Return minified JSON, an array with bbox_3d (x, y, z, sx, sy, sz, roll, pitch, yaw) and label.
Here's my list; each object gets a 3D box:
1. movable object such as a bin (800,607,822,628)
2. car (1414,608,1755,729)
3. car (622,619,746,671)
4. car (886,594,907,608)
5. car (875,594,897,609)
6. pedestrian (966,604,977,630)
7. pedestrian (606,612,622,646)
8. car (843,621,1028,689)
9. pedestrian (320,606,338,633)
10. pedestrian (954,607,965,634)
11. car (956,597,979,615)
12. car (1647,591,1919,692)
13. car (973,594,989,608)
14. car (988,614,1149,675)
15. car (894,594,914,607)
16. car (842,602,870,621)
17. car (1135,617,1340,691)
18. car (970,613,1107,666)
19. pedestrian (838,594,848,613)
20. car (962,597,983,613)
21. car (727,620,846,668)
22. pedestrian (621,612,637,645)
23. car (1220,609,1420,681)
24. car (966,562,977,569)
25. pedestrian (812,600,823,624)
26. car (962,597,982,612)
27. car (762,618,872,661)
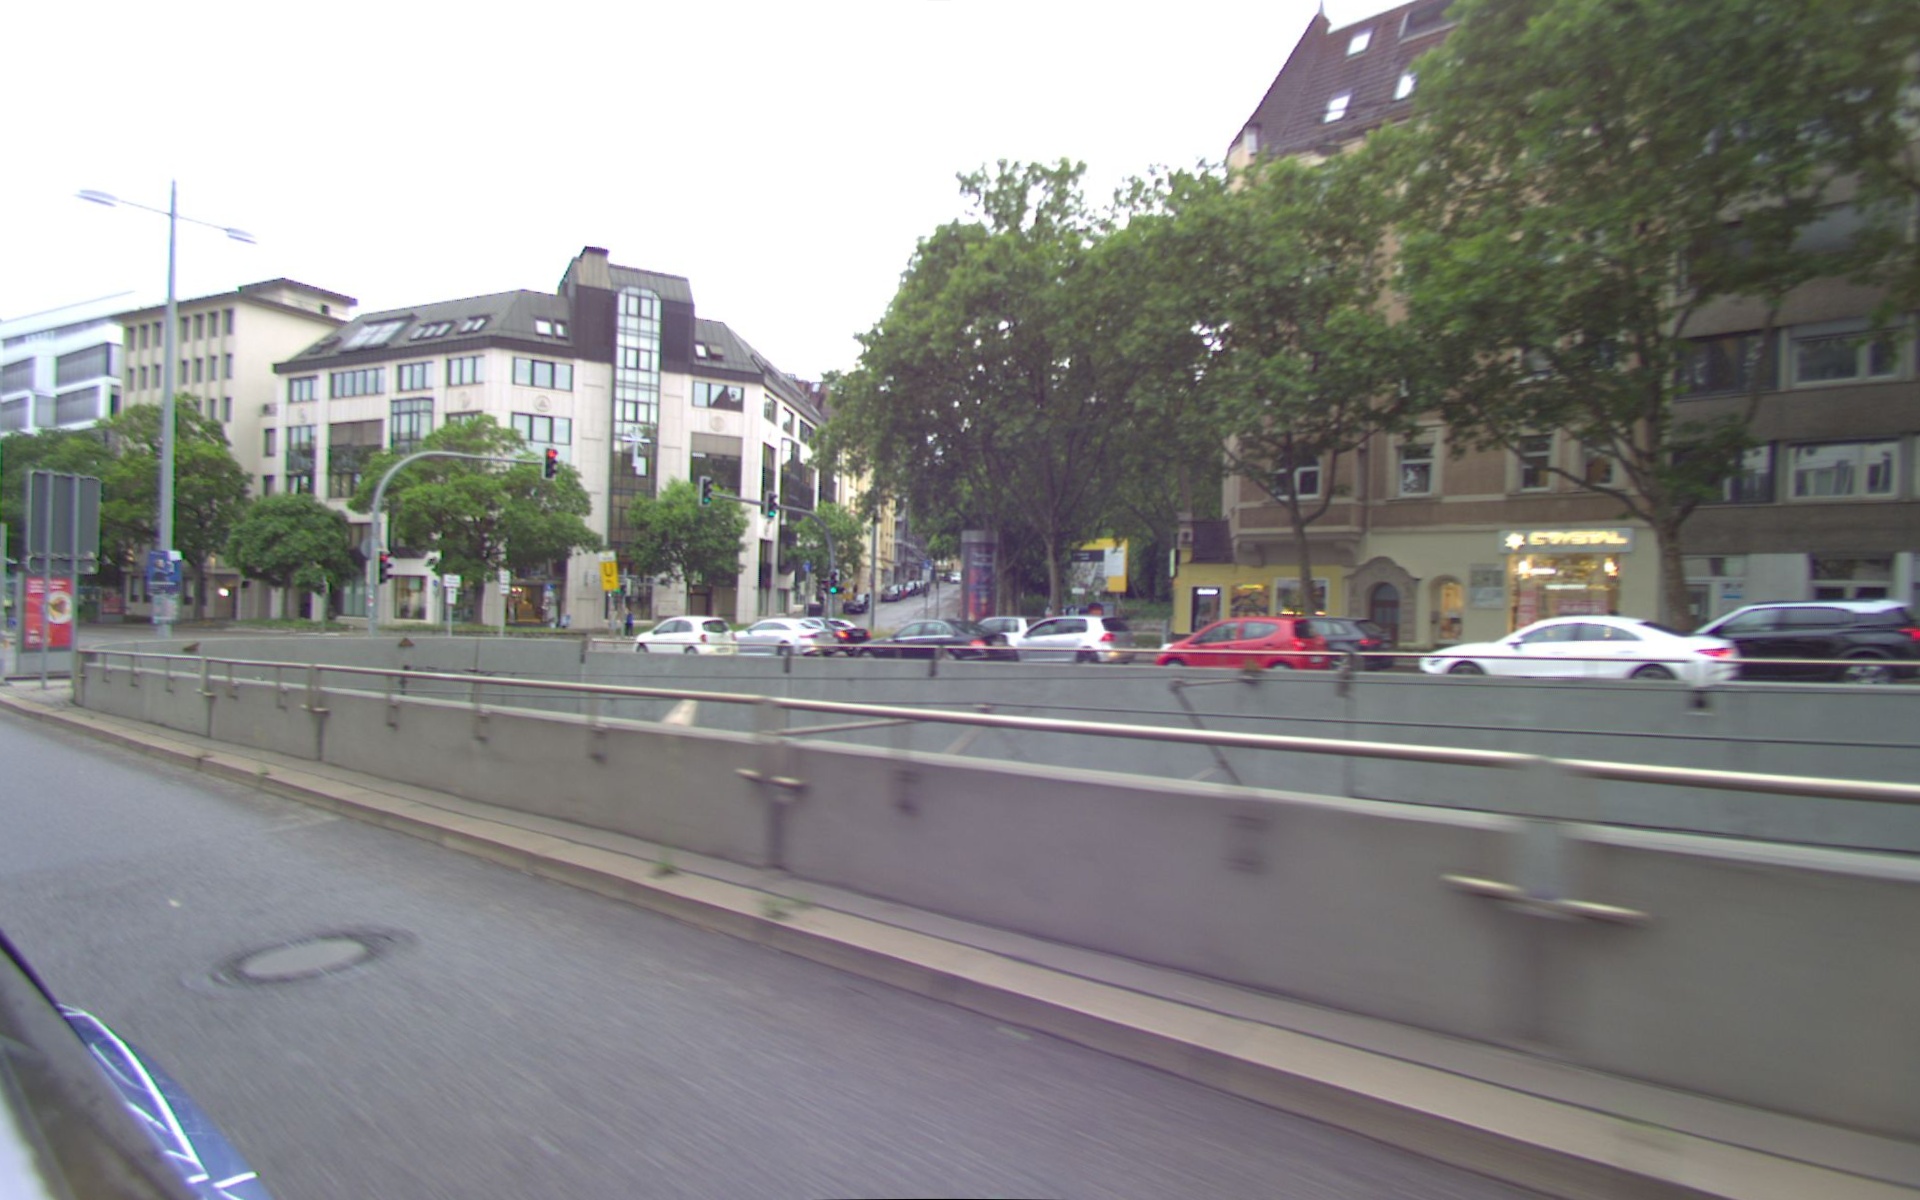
[{"bbox_3d":[-10.926,1.289,74.210,1.332,1.519,1.073,0,0,-22],"label":"movable object such as a bin"},{"bbox_3d":[10.489,1.035,17.251,4.730,1.783,1.775,-1,-1,42],"label":"car"},{"bbox_3d":[-9.035,1.425,33.064,3.990,1.573,1.779,0,-1,35],"label":"car"},{"bbox_3d":[-6.917,0.083,110.261,1.777,1.521,3.996,-1,0,4],"label":"car"},{"bbox_3d":[-7.623,0.133,104.766,1.777,1.521,3.996,-1,0,4],"label":"car"},{"bbox_3d":[0.800,1.183,70.194,0.623,1.823,0.675,-1,0,-8],"label":"pedestrian"},{"bbox_3d":[-19.230,1.598,56.228,0.582,1.823,0.675,-1,0,-44],"label":"pedestrian"},{"bbox_3d":[-0.714,1.361,26.417,4.828,1.569,1.777,-1,-1,38],"label":"car"},{"bbox_3d":[-42.116,1.289,67.510,0.614,1.798,0.826,0,0,32],"label":"pedestrian"},{"bbox_3d":[-0.042,1.406,70.097,0.623,1.823,0.675,-1,0,-8],"label":"pedestrian"},{"bbox_3d":[0.679,0.526,90.421,1.592,1.473,3.484,0,0,8],"label":"car"},{"bbox_3d":[14.624,0.697,17.790,4.015,1.592,1.775,-2,-1,41],"label":"car"},{"bbox_3d":[2.362,0.120,115.384,1.590,1.473,3.487,0,0,5],"label":"car"},{"bbox_3d":[2.912,1.209,27.510,3.994,1.522,1.777,-3,-2,37],"label":"car"},{"bbox_3d":[-6.358,0.037,115.518,1.777,1.521,3.996,-1,0,4],"label":"car"},{"bbox_3d":[-8.933,0.980,87.344,1.777,1.521,3.996,-1,0,4],"label":"car"},{"bbox_3d":[5.785,1.072,21.343,3.877,1.411,1.568,-1,-1,40],"label":"car"},{"bbox_3d":[2.448,1.262,31.888,3.936,1.522,1.777,-3,-1,38],"label":"car"},{"bbox_3d":[-10.575,0.294,91.560,0.643,1.674,0.647,-1,0,13],"label":"pedestrian"},{"bbox_3d":[1.192,0.474,96.698,1.592,1.473,3.484,0,0,8],"label":"car"},{"bbox_3d":[-5.965,1.455,34.649,3.994,1.522,1.777,-1,-1,38],"label":"car"},{"bbox_3d":[-18.556,1.585,56.728,0.582,1.823,0.675,-1,0,-44],"label":"pedestrian"},{"bbox_3d":[8.226,1.004,23.270,3.994,1.522,1.777,-2,-2,38],"label":"car"},{"bbox_3d":[2.494,-7.619,222.983,1.781,1.521,3.986,-1,0,11],"label":"car"},{"bbox_3d":[-11.946,0.987,84.939,0.746,2.029,0.746,-1,0,4],"label":"pedestrian"},{"bbox_3d":[1.265,0.421,103.776,1.592,1.473,3.484,0,0,8],"label":"car"},{"bbox_3d":[-5.357,1.512,37.735,3.994,1.522,1.777,-3,-3,37],"label":"car"}]
